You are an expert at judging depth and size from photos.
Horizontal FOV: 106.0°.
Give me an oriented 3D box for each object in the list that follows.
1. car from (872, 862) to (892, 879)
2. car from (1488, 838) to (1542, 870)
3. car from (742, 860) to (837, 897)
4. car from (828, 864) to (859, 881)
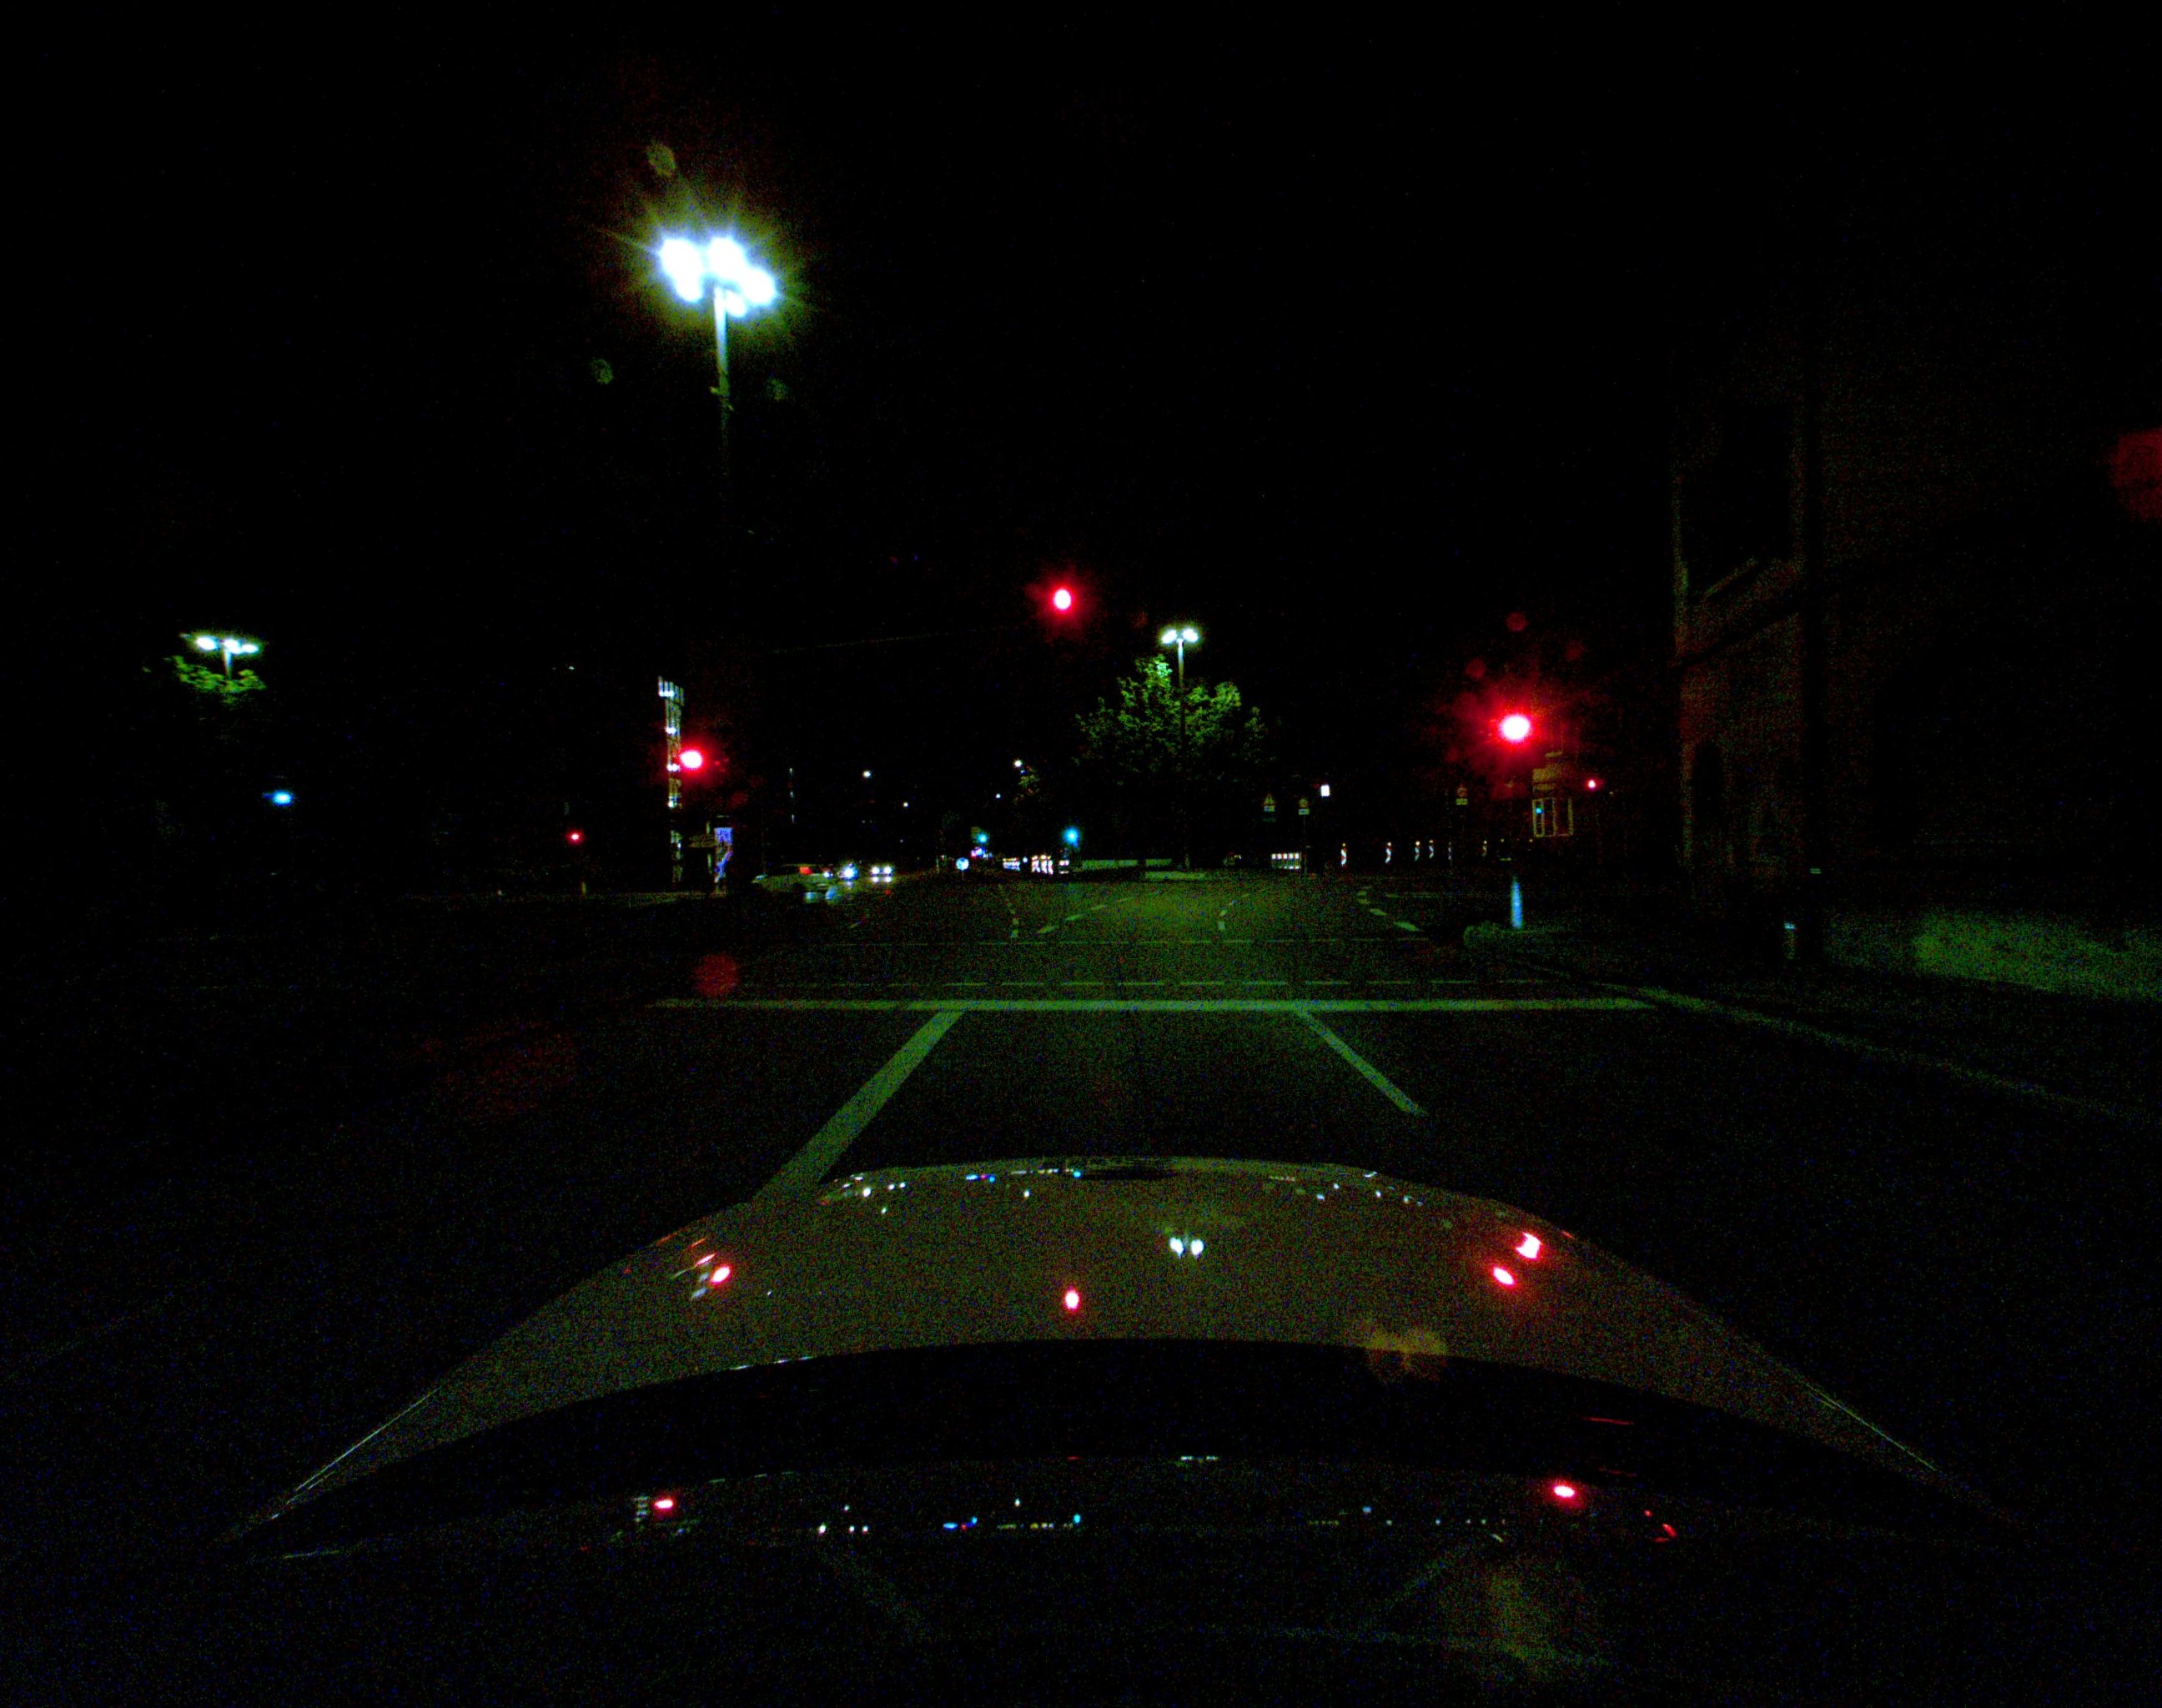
[{"bbox_3d":[-22.395,1.853,91.701,1.756,1.728,3.539,-2,-1,-6],"label":"car"},{"bbox_3d":[23.508,-0.006,44.106,1.711,1.612,3.646,-3,-1,42],"label":"car"},{"bbox_3d":[-12.945,1.098,36.166,3.949,1.491,1.719,-2,-1,28],"label":"car"},{"bbox_3d":[-19.335,1.488,66.425,1.756,1.322,3.539,-2,-1,-6],"label":"car"}]
